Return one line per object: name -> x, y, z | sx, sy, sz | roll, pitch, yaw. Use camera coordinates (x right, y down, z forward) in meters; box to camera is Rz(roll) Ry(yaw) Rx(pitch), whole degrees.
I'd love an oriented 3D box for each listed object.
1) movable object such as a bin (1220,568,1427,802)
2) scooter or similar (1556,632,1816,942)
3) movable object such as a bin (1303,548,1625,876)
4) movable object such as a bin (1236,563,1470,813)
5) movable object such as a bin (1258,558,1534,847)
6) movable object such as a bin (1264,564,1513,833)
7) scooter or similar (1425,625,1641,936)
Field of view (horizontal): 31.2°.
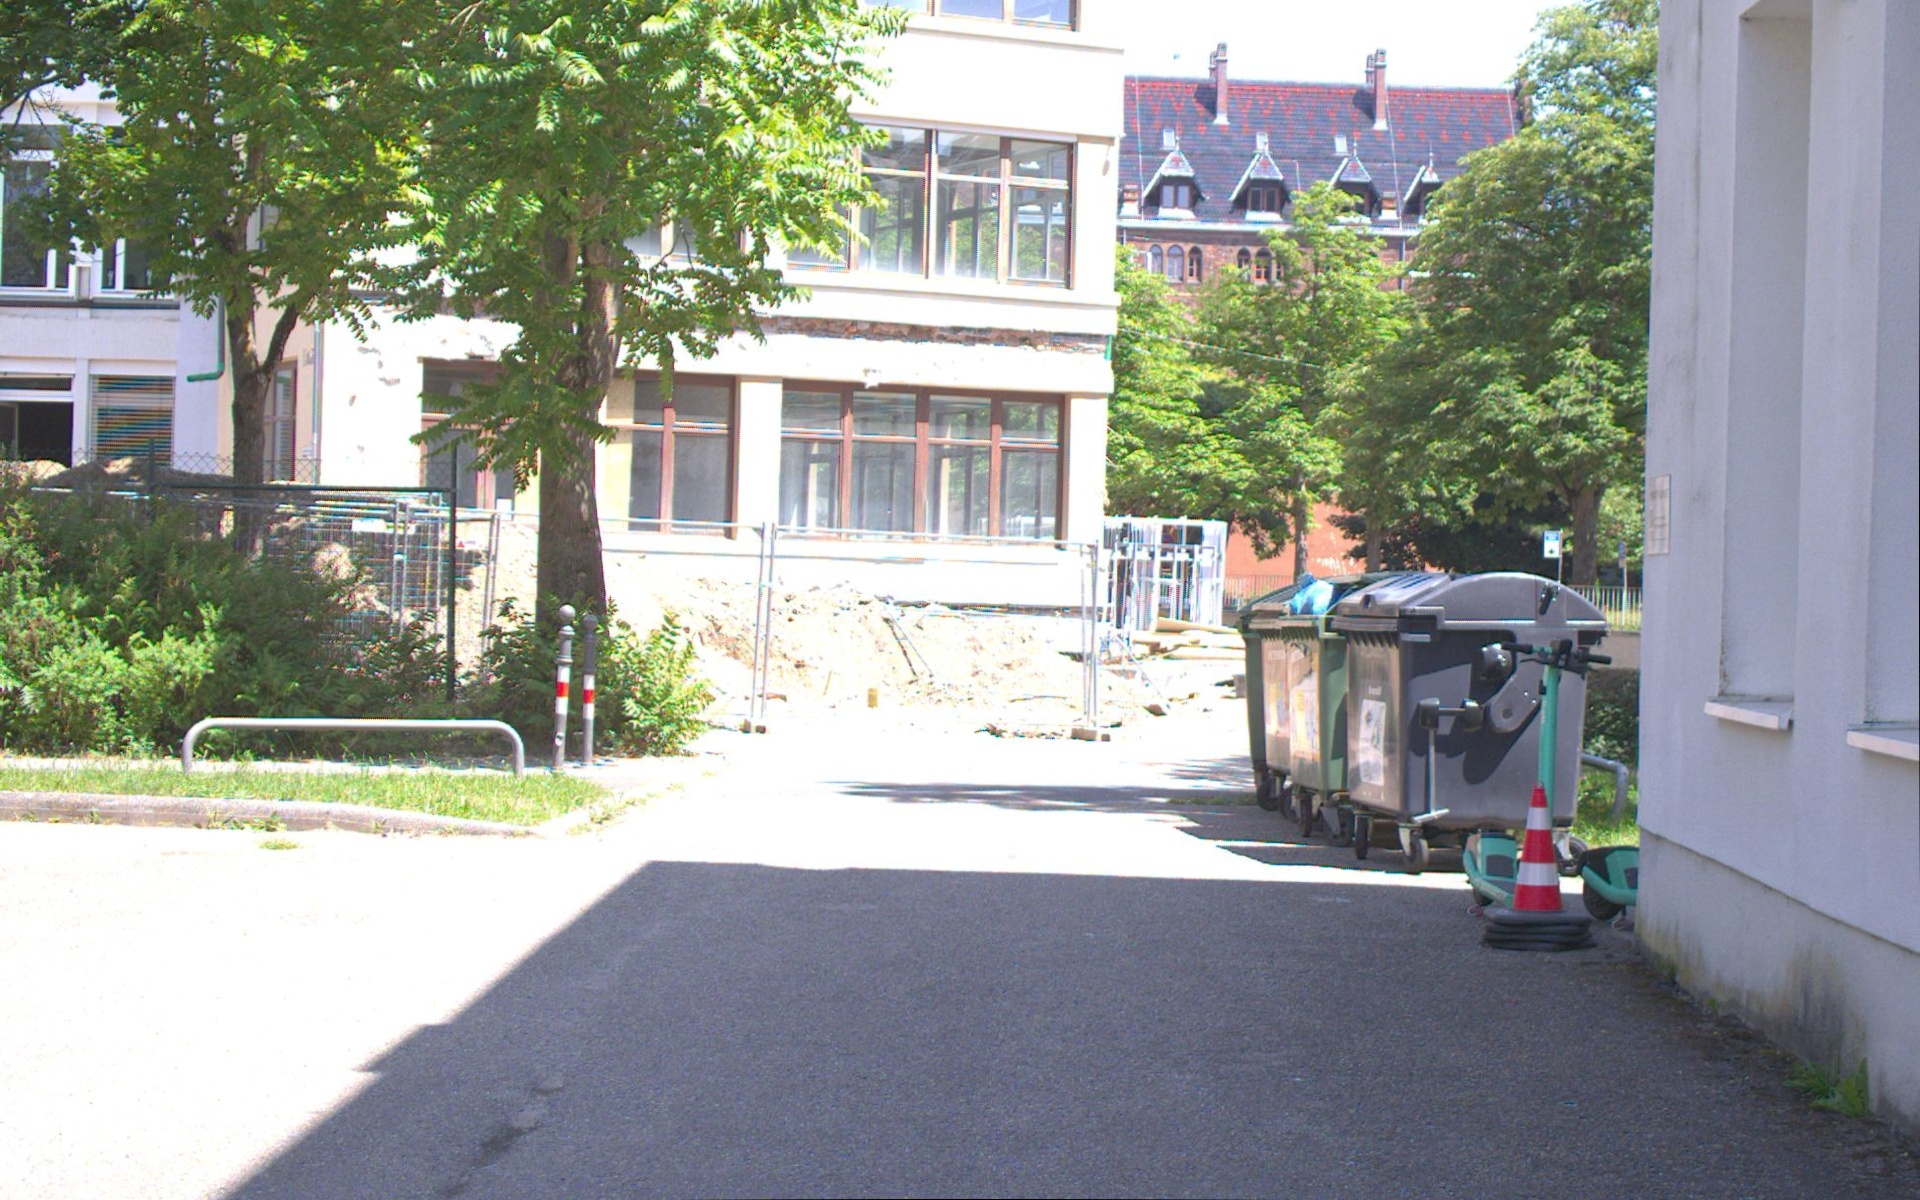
movable object such as a bin -> 2.438, 0.557, 22.894 | 1.179, 1.465, 1.332 | 2, -1, 13
scooter or similar -> 2.911, 0.732, 13.883 | 0.463, 1.170, 1.256 | 2, 0, -16
movable object such as a bin -> 2.436, 0.530, 16.818 | 1.154, 1.500, 1.463 | 2, -1, -7
movable object such as a bin -> 2.420, 0.538, 21.354 | 1.179, 1.465, 1.312 | 2, -1, -4
movable object such as a bin -> 2.325, 0.538, 18.530 | 1.178, 1.465, 1.312 | 2, -1, -5
movable object such as a bin -> 2.459, 0.558, 19.911 | 1.179, 1.465, 1.311 | 2, -1, -2
scooter or similar -> 2.300, 0.701, 13.914 | 0.463, 1.170, 1.357 | 2, 0, -7
